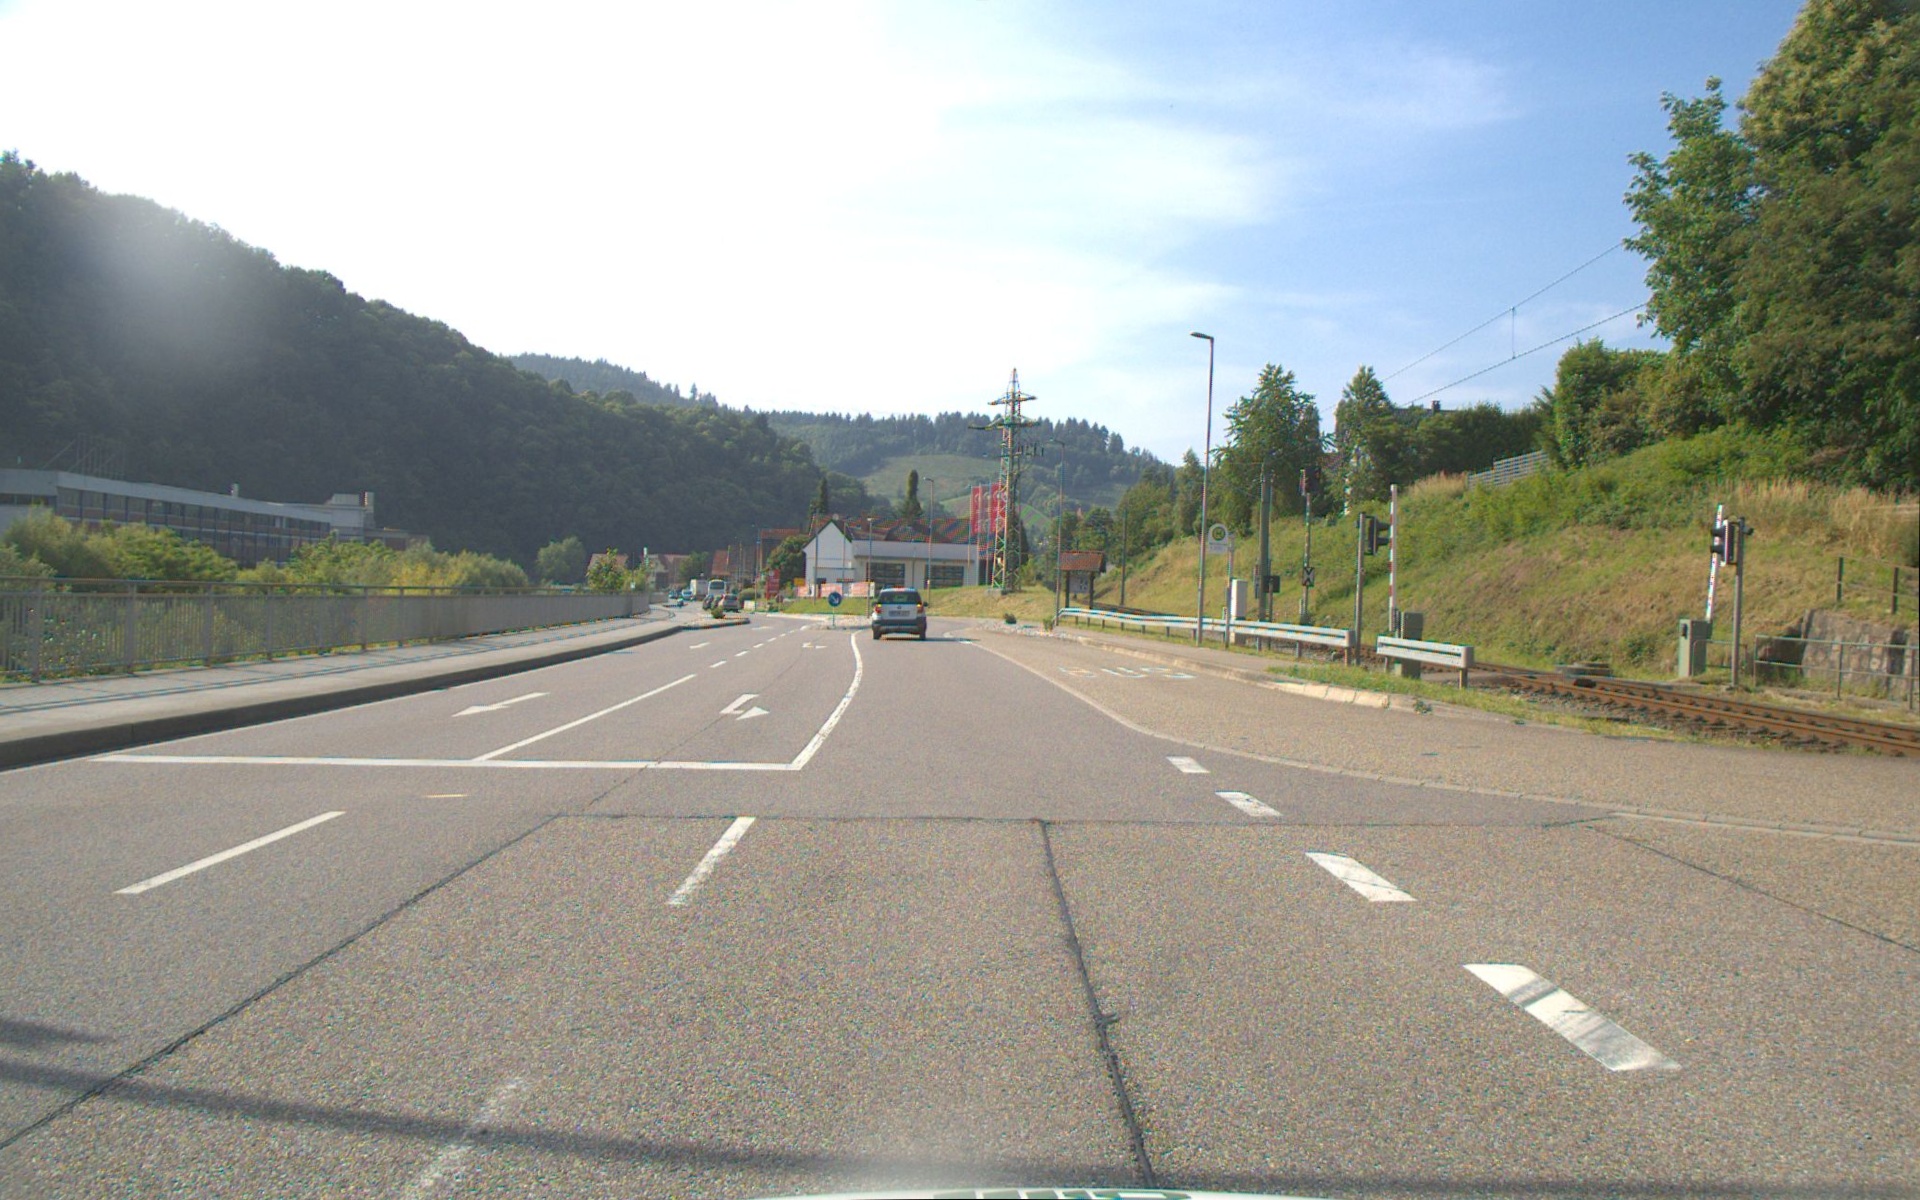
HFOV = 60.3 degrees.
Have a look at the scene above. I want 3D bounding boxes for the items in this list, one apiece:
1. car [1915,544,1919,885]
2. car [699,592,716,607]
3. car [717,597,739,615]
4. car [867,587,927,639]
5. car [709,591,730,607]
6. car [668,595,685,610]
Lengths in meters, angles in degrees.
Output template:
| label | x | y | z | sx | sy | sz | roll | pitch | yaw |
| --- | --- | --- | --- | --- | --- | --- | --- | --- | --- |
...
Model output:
| label | x | y | z | sx | sy | sz | roll | pitch | yaw |
| --- | --- | --- | --- | --- | --- | --- | --- | --- | --- |
| car | 6.801 | 0.583 | 7.086 | 4.638 | 1.688 | 1.927 | 1 | 0 | 30 |
| car | -26.831 | -0.054 | 175.603 | 1.215 | 1.460 | 2.624 | 0 | 1 | -21 |
| car | -20.857 | 0.532 | 148.722 | 1.432 | 1.460 | 2.919 | 2 | 1 | -19 |
| car | -2.119 | 0.412 | 54.744 | 1.824 | 1.571 | 4.369 | 2 | 0 | -4 |
| car | -23.711 | -0.134 | 162.936 | 1.432 | 1.460 | 2.918 | 2 | 1 | -21 |
| car | -31.943 | 0.253 | 186.547 | 1.636 | 1.577 | 3.698 | 2 | 1 | -7 |
